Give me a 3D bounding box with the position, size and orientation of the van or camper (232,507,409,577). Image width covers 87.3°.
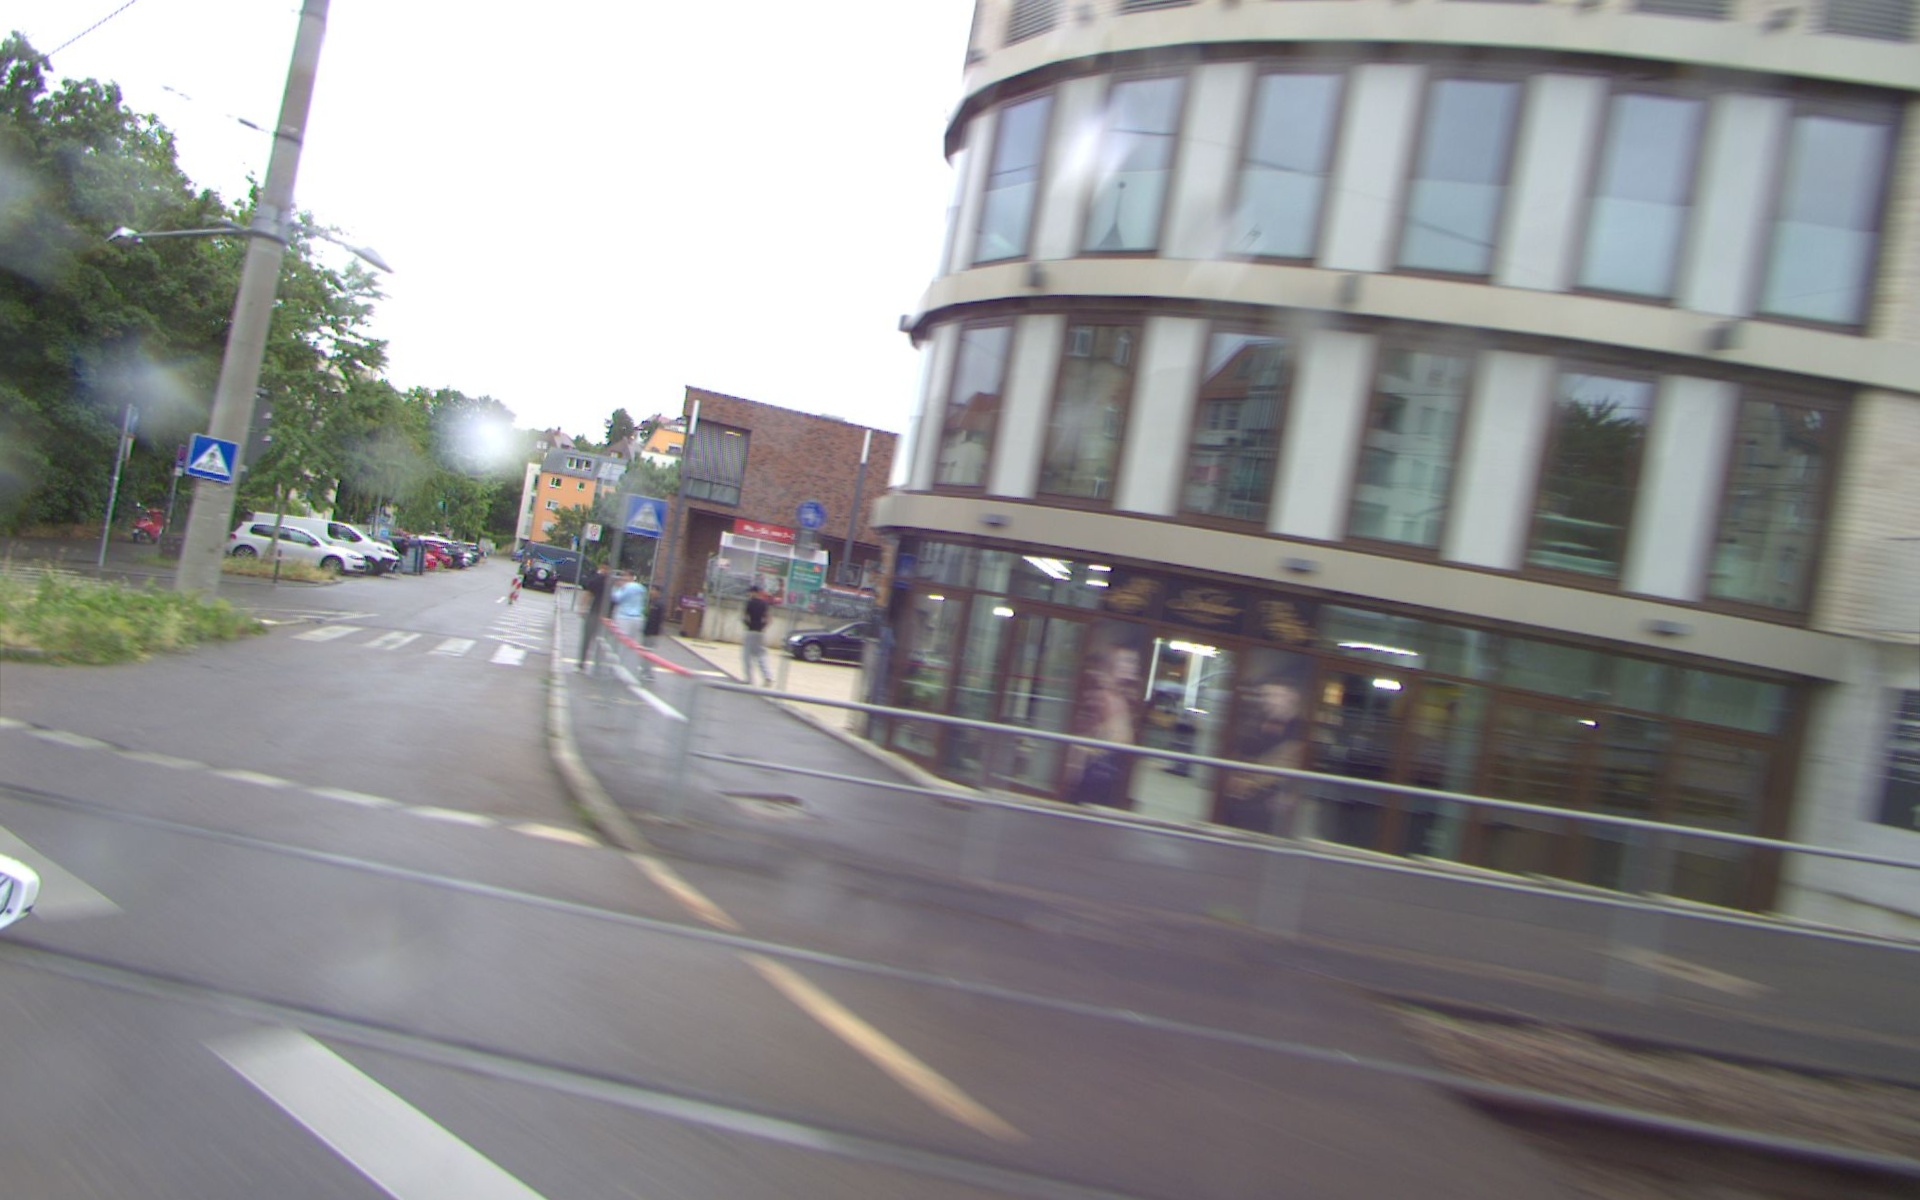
[{"bbox_3d":[-23.921,-2.127,37.861,5.103,1.856,1.994,7,-1,-17],"label":"van or camper"}]

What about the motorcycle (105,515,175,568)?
[{"bbox_3d":[-26.208,-1.833,32.213,0.815,1.388,2.419,13,-5,-22],"label":"motorcycle"}]

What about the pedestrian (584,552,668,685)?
[{"bbox_3d":[-5.472,0.307,16.508,0.875,2.038,0.658,7,0,17],"label":"pedestrian"}]

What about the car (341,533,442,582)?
[{"bbox_3d":[-28.635,-2.094,50.814,3.945,1.792,1.840,9,-2,-19],"label":"car"}]

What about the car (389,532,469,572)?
[{"bbox_3d":[-33.251,-2.959,63.097,3.945,1.792,1.840,9,-2,-19],"label":"car"}]

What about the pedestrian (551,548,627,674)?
[{"bbox_3d":[-6.287,0.196,17.074,0.771,2.038,0.685,5,-1,17],"label":"pedestrian"}]

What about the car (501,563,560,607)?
[{"bbox_3d":[-24.636,-0.876,57.620,1.985,2.037,3.958,8,-1,-38],"label":"car"}]

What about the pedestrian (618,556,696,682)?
[{"bbox_3d":[-5.168,0.327,17.169,0.876,2.038,0.593,7,0,25],"label":"pedestrian"}]

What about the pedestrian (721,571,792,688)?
[{"bbox_3d":[-3.770,0.557,18.621,0.876,2.038,0.593,7,0,25],"label":"pedestrian"}]

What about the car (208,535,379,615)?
[{"bbox_3d":[-23.205,-0.814,35.246,4.451,2.035,1.991,9,-3,-22],"label":"car"}]

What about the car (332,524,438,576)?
[{"bbox_3d":[-27.606,-2.369,48.412,3.945,1.792,1.840,9,-2,-19],"label":"car"}]

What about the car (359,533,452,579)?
[{"bbox_3d":[-29.955,-2.341,54.454,3.945,1.792,1.840,9,-2,-19],"label":"car"}]

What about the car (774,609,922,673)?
[{"bbox_3d":[-3.423,1.246,30.644,3.949,1.375,1.989,8,-1,-24],"label":"car"}]

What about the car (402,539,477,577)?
[{"bbox_3d":[-34.164,-2.725,66.153,3.945,1.792,1.840,9,-2,-19],"label":"car"}]

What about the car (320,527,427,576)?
[{"bbox_3d":[-27.075,-2.222,46.569,3.849,1.704,1.731,7,-1,-20],"label":"car"}]

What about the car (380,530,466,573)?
[{"bbox_3d":[-30.939,-2.779,58.054,3.945,1.792,1.840,9,-2,-19],"label":"car"}]

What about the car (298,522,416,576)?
[{"bbox_3d":[-25.385,-2.128,42.493,3.849,1.704,1.731,7,-1,-20],"label":"car"}]

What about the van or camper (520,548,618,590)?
[{"bbox_3d":[-27.114,-2.103,69.887,5.912,2.037,1.975,9,-2,-44],"label":"van or camper"}]
